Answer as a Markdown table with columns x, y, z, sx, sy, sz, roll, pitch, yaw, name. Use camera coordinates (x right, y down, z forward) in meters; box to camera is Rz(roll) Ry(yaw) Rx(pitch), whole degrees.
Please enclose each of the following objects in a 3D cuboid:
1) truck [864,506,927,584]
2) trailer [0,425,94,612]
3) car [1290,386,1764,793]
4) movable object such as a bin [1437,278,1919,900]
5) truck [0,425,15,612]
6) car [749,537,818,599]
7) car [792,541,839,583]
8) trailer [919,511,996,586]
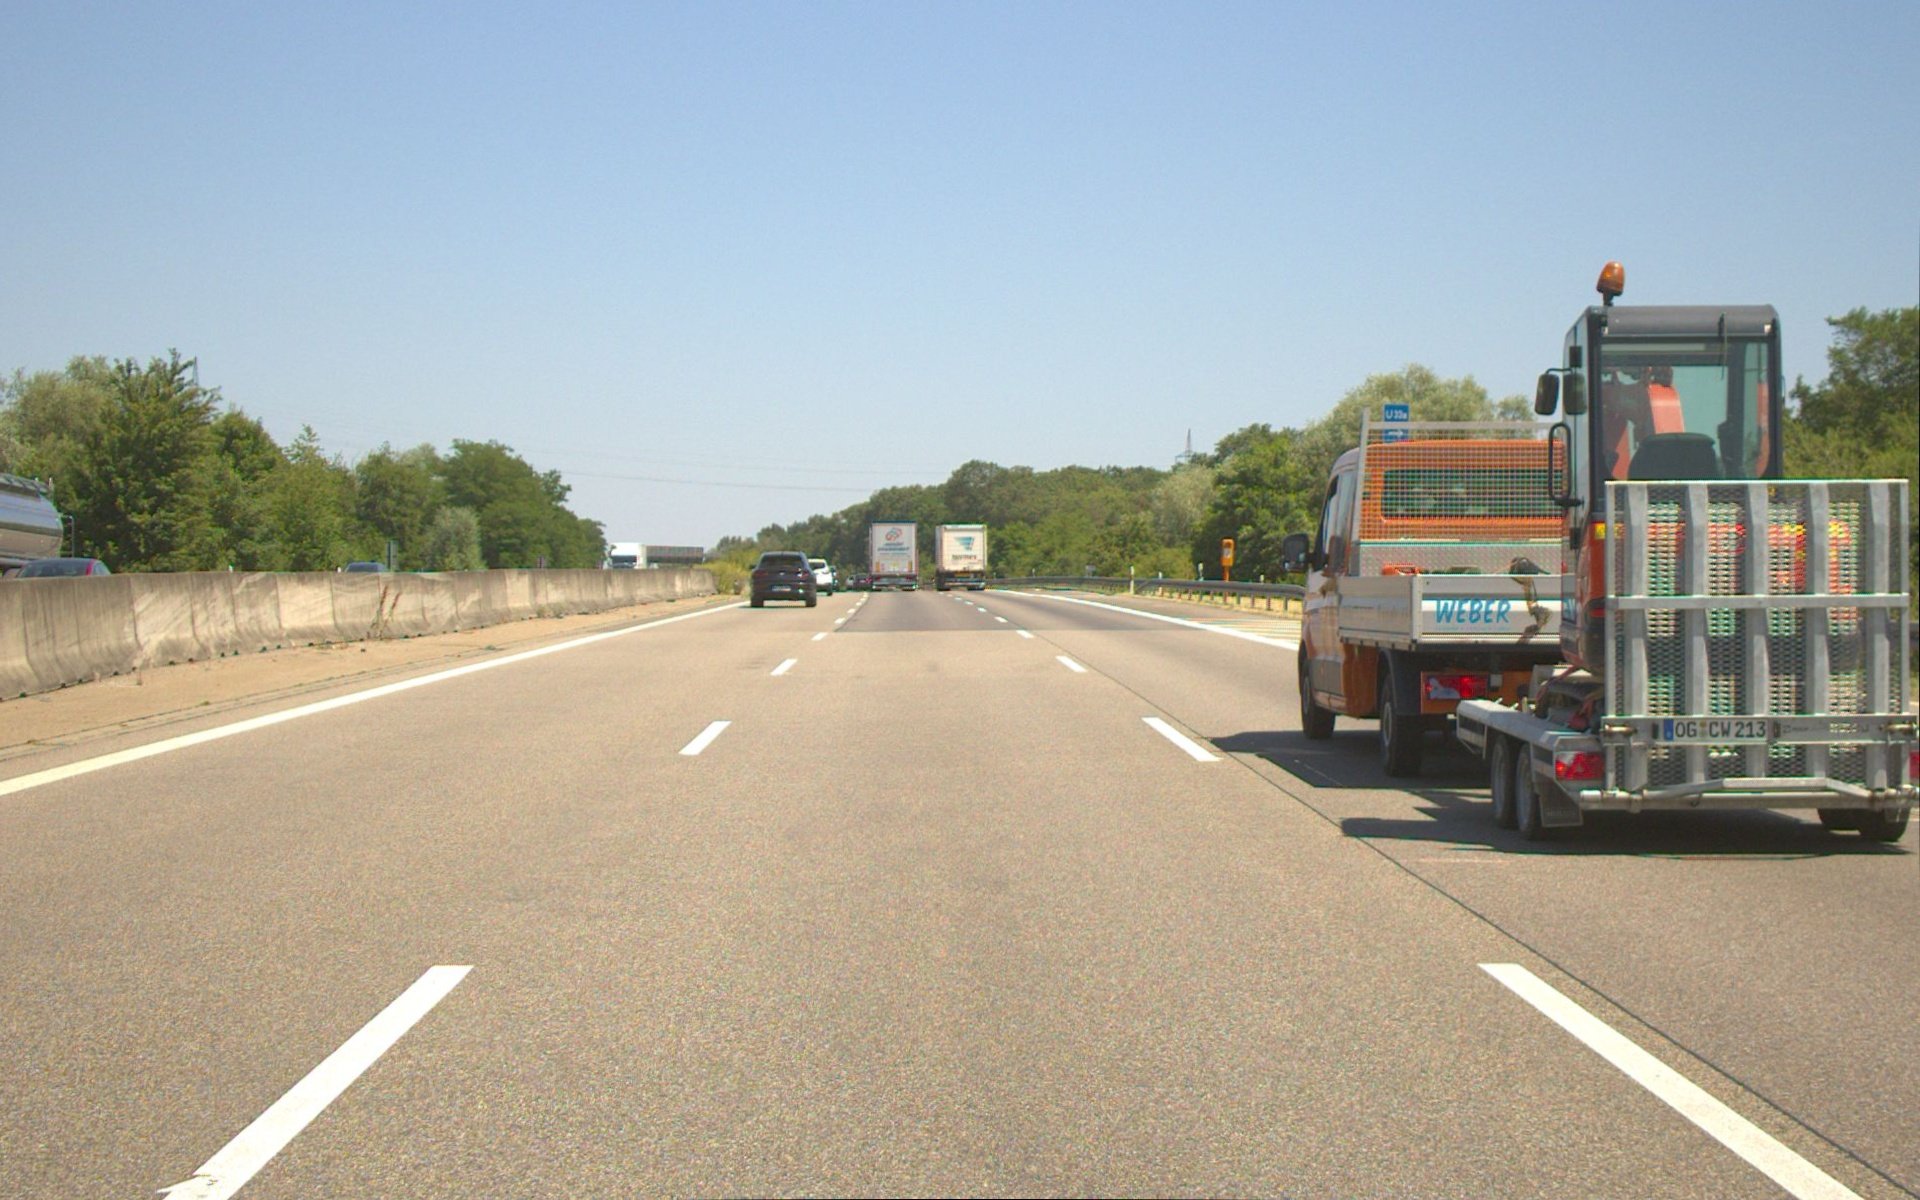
| x | y | z | sx | sy | sz | roll | pitch | yaw | name |
| --- | --- | --- | --- | --- | --- | --- | --- | --- | --- |
| -3.702 | -3.103 | 194.246 | 3.229 | 4.187 | 8.467 | 3 | 1 | -2 | truck |
| -22.338 | -1.890 | 78.061 | 2.807 | 4.033 | 10.432 | 4 | 1 | -2 | trailer |
| 3.711 | -0.105 | 24.010 | 1.993 | 2.397 | 7.227 | 1 | 1 | -1 | car |
| 3.963 | -0.074 | 17.994 | 2.174 | 2.806 | 4.761 | 1 | 1 | -1 | movable object such as a bin |
| -22.092 | -1.797 | 71.342 | 2.807 | 4.033 | 7.731 | 4 | 1 | -2 | truck |
| -5.490 | -1.013 | 107.444 | 1.993 | 1.868 | 4.000 | 1 | 1 | -1 | car |
| -6.551 | -1.720 | 155.925 | 1.993 | 1.868 | 4.000 | 1 | 1 | -1 | car |
| -0.199 | -3.070 | 203.889 | 3.367 | 4.128 | 9.093 | 3 | 1 | -6 | trailer |
